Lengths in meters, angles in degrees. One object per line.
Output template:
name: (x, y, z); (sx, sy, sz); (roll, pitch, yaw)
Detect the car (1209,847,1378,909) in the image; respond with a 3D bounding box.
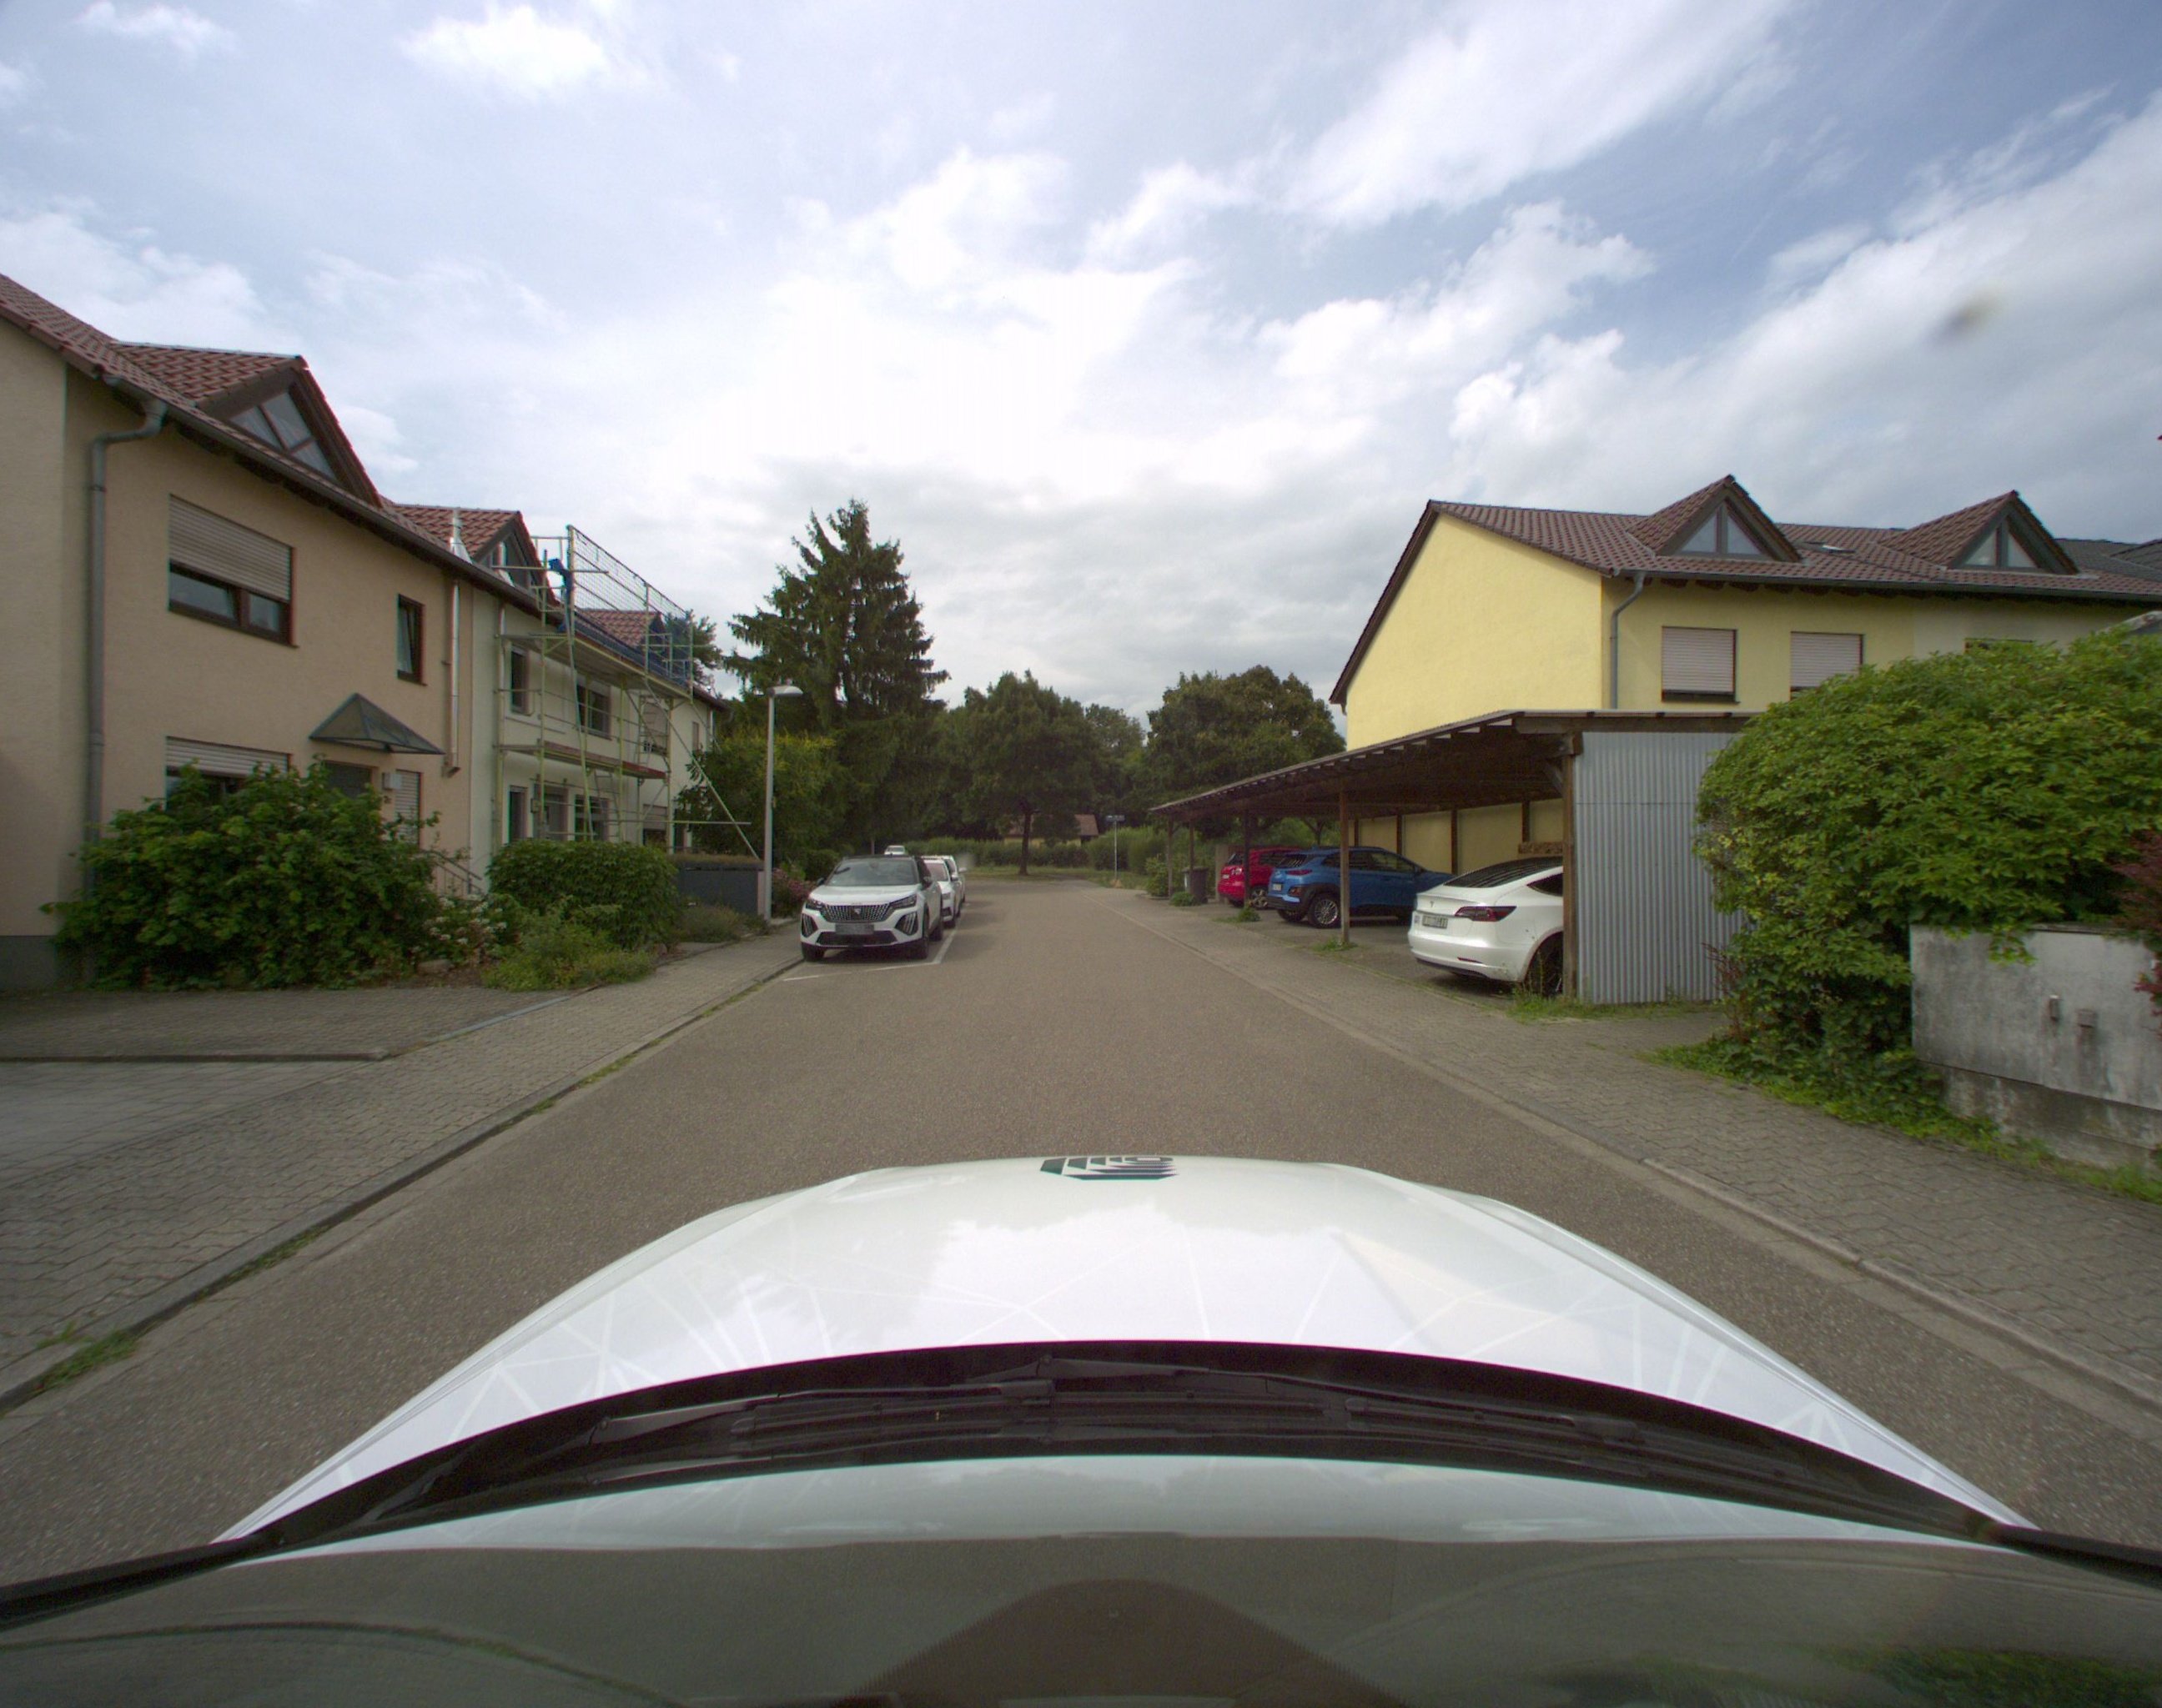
car: (5.567, 0.589, 21.562); (3.955, 1.540, 1.834); (0, 0, -9)

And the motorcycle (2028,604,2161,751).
motorcycle: (10.045, -1.679, 7.684); (0.353, 1.231, 1.473); (0, 0, -12)

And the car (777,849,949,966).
car: (-3.296, 0.702, 13.267); (1.931, 1.556, 4.626); (0, 0, -5)

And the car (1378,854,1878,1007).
car: (5.893, 0.728, 9.085); (4.447, 1.433, 2.022); (0, 0, -8)

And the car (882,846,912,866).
car: (-15.510, 0.182, 68.814); (1.935, 1.660, 4.332); (0, 0, -5)

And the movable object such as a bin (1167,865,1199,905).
movable object such as a bin: (2.820, 0.839, 22.507); (0.699, 1.072, 0.709); (-1, 0, -9)

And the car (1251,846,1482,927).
car: (5.747, 0.612, 16.641); (4.044, 1.522, 1.944); (0, 0, -9)

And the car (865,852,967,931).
car: (-3.627, 0.736, 18.651); (1.808, 1.562, 4.838); (0, 0, -6)

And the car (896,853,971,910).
car: (-4.267, 0.738, 24.062); (1.789, 1.531, 4.132); (0, 0, -5)
